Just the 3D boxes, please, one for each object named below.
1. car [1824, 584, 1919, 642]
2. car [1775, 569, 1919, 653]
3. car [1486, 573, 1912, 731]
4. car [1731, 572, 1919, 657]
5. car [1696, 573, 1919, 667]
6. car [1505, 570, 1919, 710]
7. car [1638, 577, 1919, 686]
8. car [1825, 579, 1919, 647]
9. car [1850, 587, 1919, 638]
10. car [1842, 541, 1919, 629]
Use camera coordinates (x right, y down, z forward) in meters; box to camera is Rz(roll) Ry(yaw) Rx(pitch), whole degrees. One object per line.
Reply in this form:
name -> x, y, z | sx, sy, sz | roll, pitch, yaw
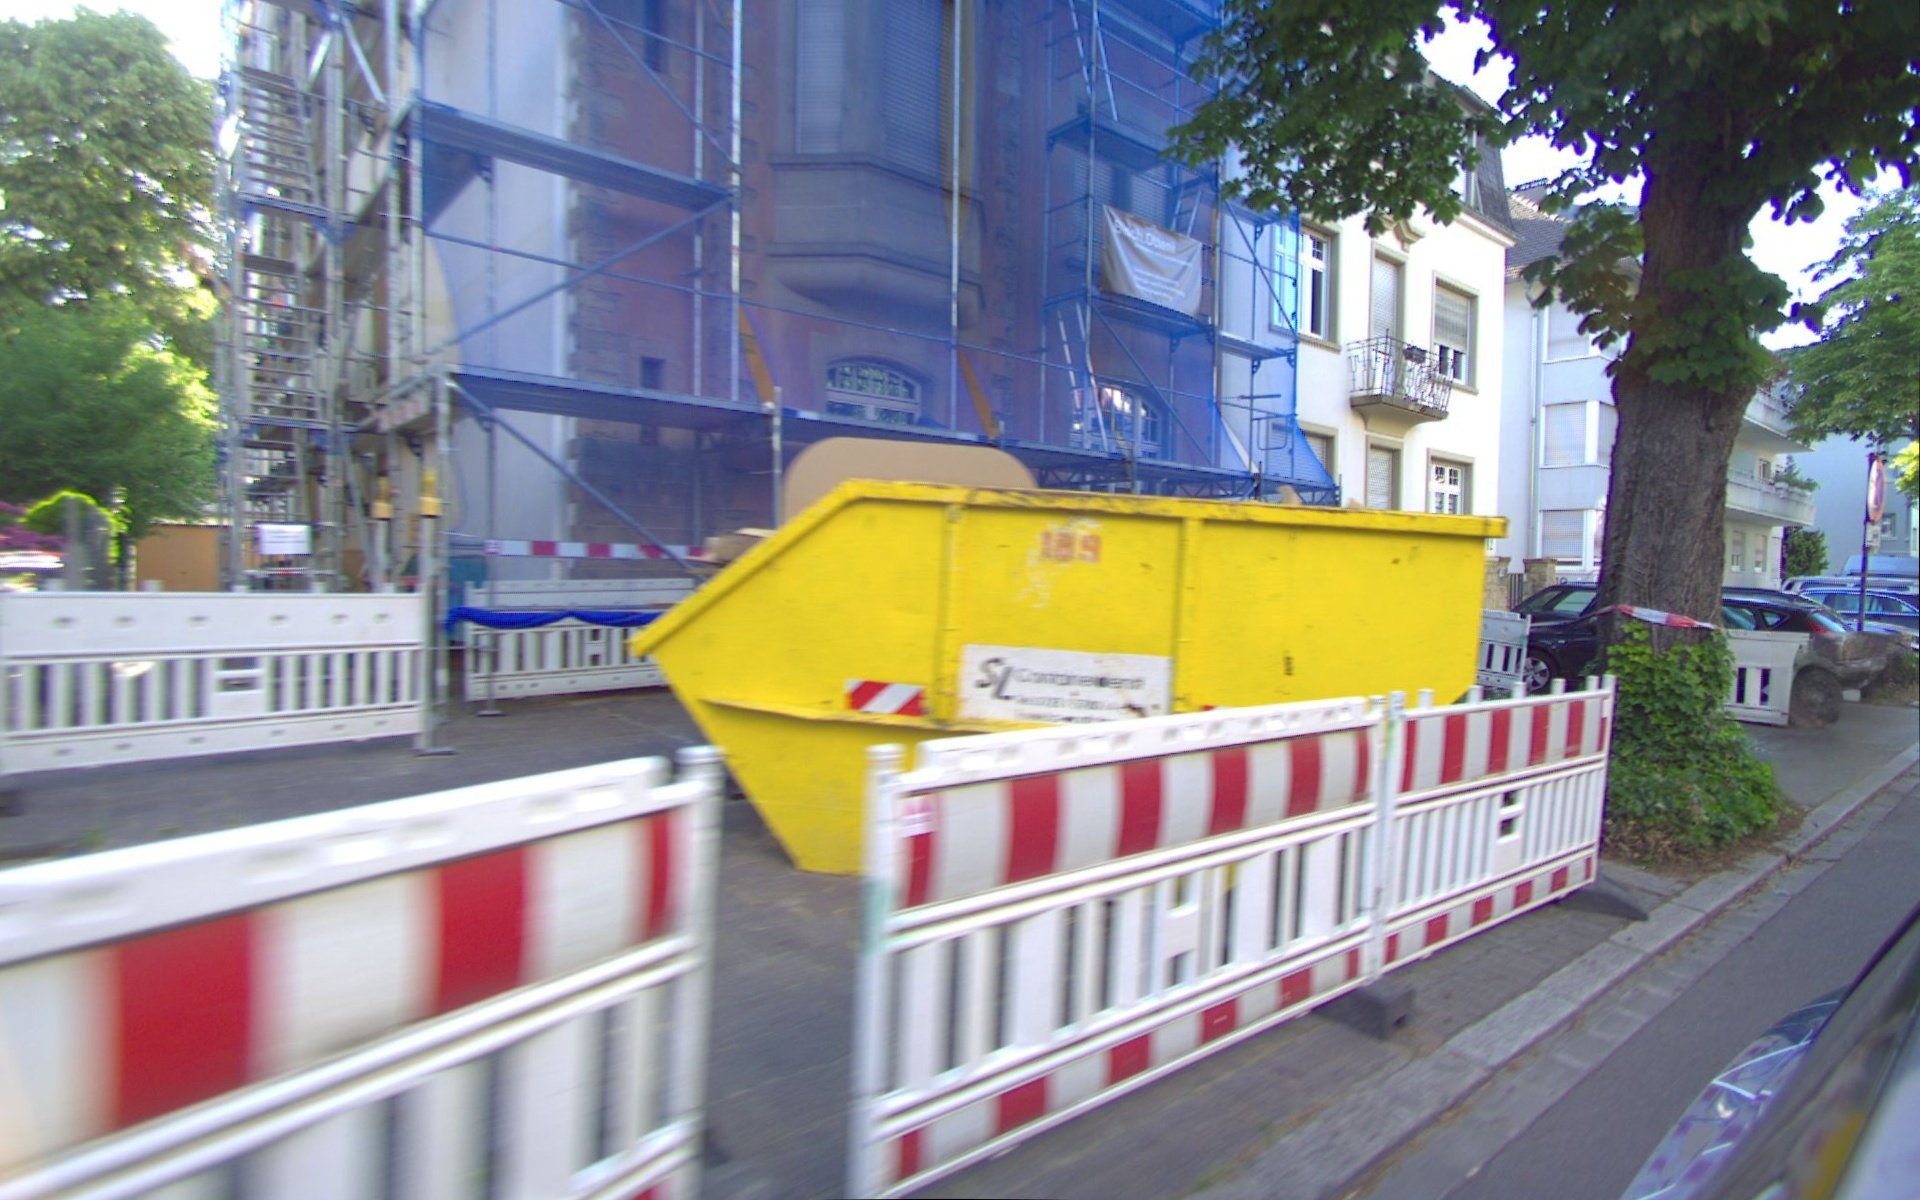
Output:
car -> 27.388, 0.365, 29.010 | 1.610, 1.573, 3.730 | -1, 2, -38
car -> 23.752, 0.259, 25.715 | 1.863, 2.038, 4.477 | 0, 2, -41
car -> 9.176, 0.508, 12.866 | 1.817, 1.510, 3.999 | 0, 4, -38
car -> 20.333, 0.291, 23.140 | 1.674, 1.703, 3.962 | 1, 3, -37
car -> 18.400, 0.372, 21.348 | 1.676, 1.703, 4.339 | 0, 3, -42
car -> 10.933, 0.433, 14.916 | 1.818, 1.553, 4.730 | 0, 4, -39
car -> 14.740, 0.466, 17.906 | 1.818, 1.558, 4.166 | 0, 4, -40
car -> 25.869, 0.358, 26.999 | 4.175, 1.745, 1.739 | 3, 3, 43
car -> 29.648, 0.384, 30.748 | 1.728, 1.448, 3.728 | -2, 3, -41
car -> 33.441, -0.479, 34.291 | 2.041, 2.938, 5.103 | 0, 2, -42
